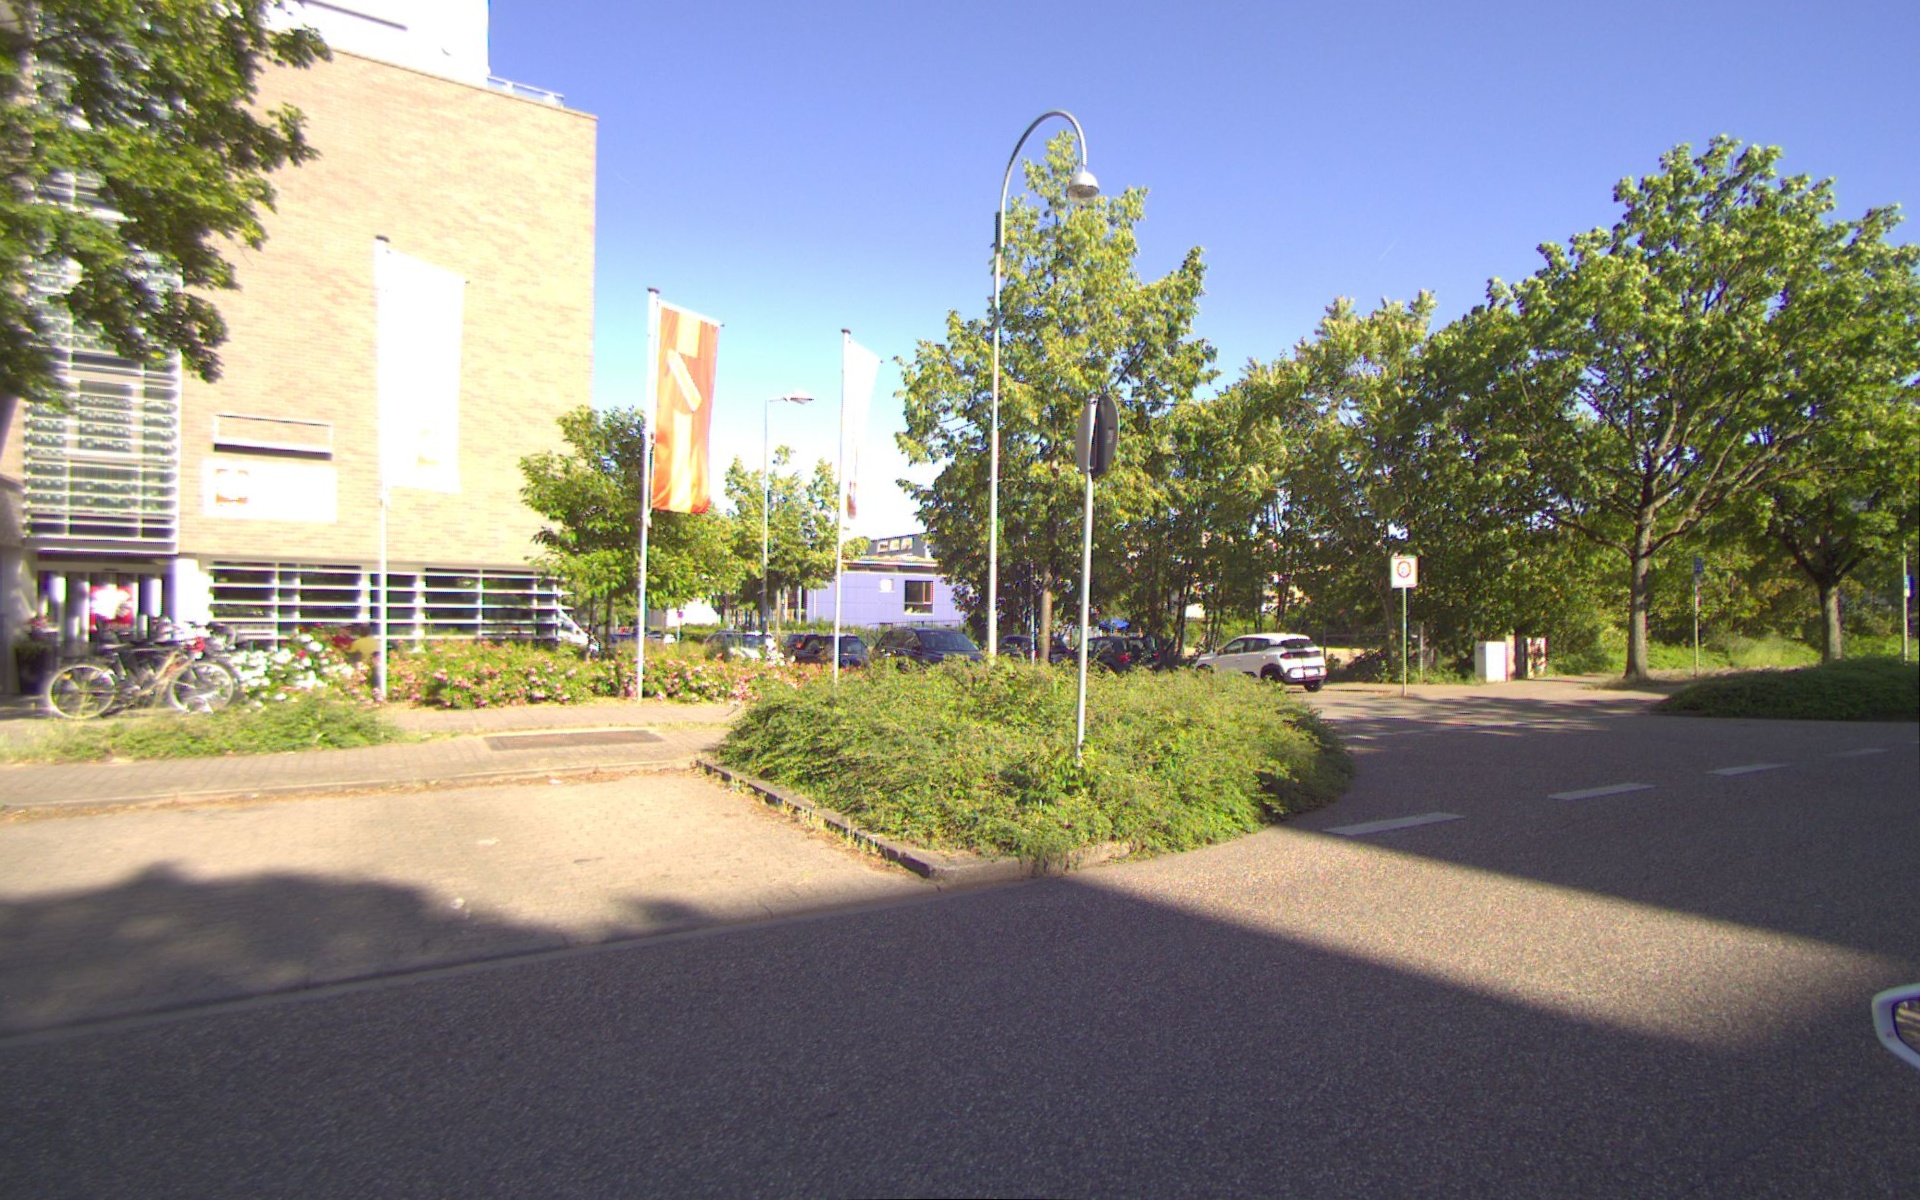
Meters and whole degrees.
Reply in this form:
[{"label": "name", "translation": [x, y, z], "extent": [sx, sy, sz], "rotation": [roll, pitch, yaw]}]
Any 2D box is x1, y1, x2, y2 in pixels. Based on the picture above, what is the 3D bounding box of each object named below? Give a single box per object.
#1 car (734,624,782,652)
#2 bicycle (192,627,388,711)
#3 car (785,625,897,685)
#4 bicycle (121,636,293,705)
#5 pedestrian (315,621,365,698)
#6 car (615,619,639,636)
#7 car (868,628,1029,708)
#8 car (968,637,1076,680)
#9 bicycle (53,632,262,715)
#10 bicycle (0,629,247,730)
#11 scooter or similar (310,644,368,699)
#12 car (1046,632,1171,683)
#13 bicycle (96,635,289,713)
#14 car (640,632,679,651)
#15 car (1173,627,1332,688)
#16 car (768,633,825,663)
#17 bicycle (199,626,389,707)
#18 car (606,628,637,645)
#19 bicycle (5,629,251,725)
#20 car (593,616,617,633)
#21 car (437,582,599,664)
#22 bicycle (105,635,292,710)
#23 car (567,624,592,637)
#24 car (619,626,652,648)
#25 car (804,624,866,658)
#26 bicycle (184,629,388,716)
[{"label": "car", "translation": [-12.323, 2.296, 61.033], "extent": [1.666, 1.562, 3.817], "rotation": [1, -1, -31]}, {"label": "bicycle", "translation": [-9.003, 0.917, 13.607], "extent": [2.168, 1.061, 0.435], "rotation": [1, -1, -31]}, {"label": "car", "translation": [-3.382, 1.476, 28.005], "extent": [1.567, 1.524, 3.755], "rotation": [1, -2, -34]}, {"label": "bicycle", "translation": [-12.122, 1.118, 16.257], "extent": [2.168, 1.061, 0.435], "rotation": [1, -1, -31]}, {"label": "pedestrian", "translation": [-11.435, 1.087, 18.544], "extent": [0.736, 1.379, 0.665], "rotation": [1, -2, -30]}, {"label": "car", "translation": [-40.301, 3.354, 121.514], "extent": [1.977, 2.040, 3.968], "rotation": [1, -1, -30]}, {"label": "car", "translation": [-0.380, 1.496, 22.924], "extent": [1.870, 1.640, 4.306], "rotation": [1, -3, -29]}, {"label": "car", "translation": [2.143, 2.043, 35.900], "extent": [1.663, 1.456, 4.401], "rotation": [1, -2, -32]}, {"label": "bicycle", "translation": [-10.873, 0.983, 13.713], "extent": [2.168, 1.061, 0.435], "rotation": [1, -1, -31]}, {"label": "bicycle", "translation": [-9.492, 0.881, 11.458], "extent": [2.168, 1.061, 0.435], "rotation": [1, -1, -31]}, {"label": "scooter or similar", "translation": [-11.445, 1.312, 18.541], "extent": [0.858, 0.967, 0.800], "rotation": [1, -1, -30]}, {"label": "car", "translation": [4.626, 1.782, 31.758], "extent": [1.809, 1.491, 4.036], "rotation": [1, -3, -30]}, {"label": "bicycle", "translation": [-11.054, 1.053, 14.560], "extent": [2.168, 1.061, 0.435], "rotation": [1, -1, -31]}, {"label": "car", "translation": [-24.280, 3.342, 81.144], "extent": [1.816, 1.441, 4.194], "rotation": [-2, -1, -34]}, {"label": "car", "translation": [7.540, 1.496, 26.291], "extent": [1.605, 1.469, 4.060], "rotation": [1, -3, -29]}, {"label": "car", "translation": [-8.920, 2.585, 54.471], "extent": [1.674, 1.514, 4.044], "rotation": [1, -3, -31]}, {"label": "bicycle", "translation": [-9.235, 0.909, 14.041], "extent": [2.168, 1.061, 0.435], "rotation": [1, -1, -31]}, {"label": "car", "translation": [-30.910, 3.293, 91.662], "extent": [1.819, 1.536, 3.848], "rotation": [1, -2, -31]}, {"label": "bicycle", "translation": [-9.739, 0.882, 11.870], "extent": [2.168, 1.061, 0.435], "rotation": [1, -1, -31]}, {"label": "car", "translation": [-42.500, 2.911, 120.137], "extent": [2.007, 2.040, 3.968], "rotation": [1, -1, -30]}, {"label": "car", "translation": [-17.613, 0.978, 40.197], "extent": [5.414, 2.411, 1.904], "rotation": [11, -7, -34]}, {"label": "bicycle", "translation": [-11.321, 1.064, 15.022], "extent": [2.168, 1.061, 0.435], "rotation": [1, -1, -31]}, {"label": "car", "translation": [-42.647, 3.408, 112.630], "extent": [1.977, 1.505, 3.968], "rotation": [1, -2, -30]}, {"label": "car", "translation": [-28.114, 3.156, 86.953], "extent": [1.806, 1.741, 4.085], "rotation": [-2, 0, -31]}, {"label": "car", "translation": [-6.302, 2.008, 50.162], "extent": [1.648, 1.533, 3.968], "rotation": [1, -1, -30]}, {"label": "bicycle", "translation": [-8.751, 0.928, 13.155], "extent": [2.168, 1.061, 0.435], "rotation": [1, -1, -31]}]
